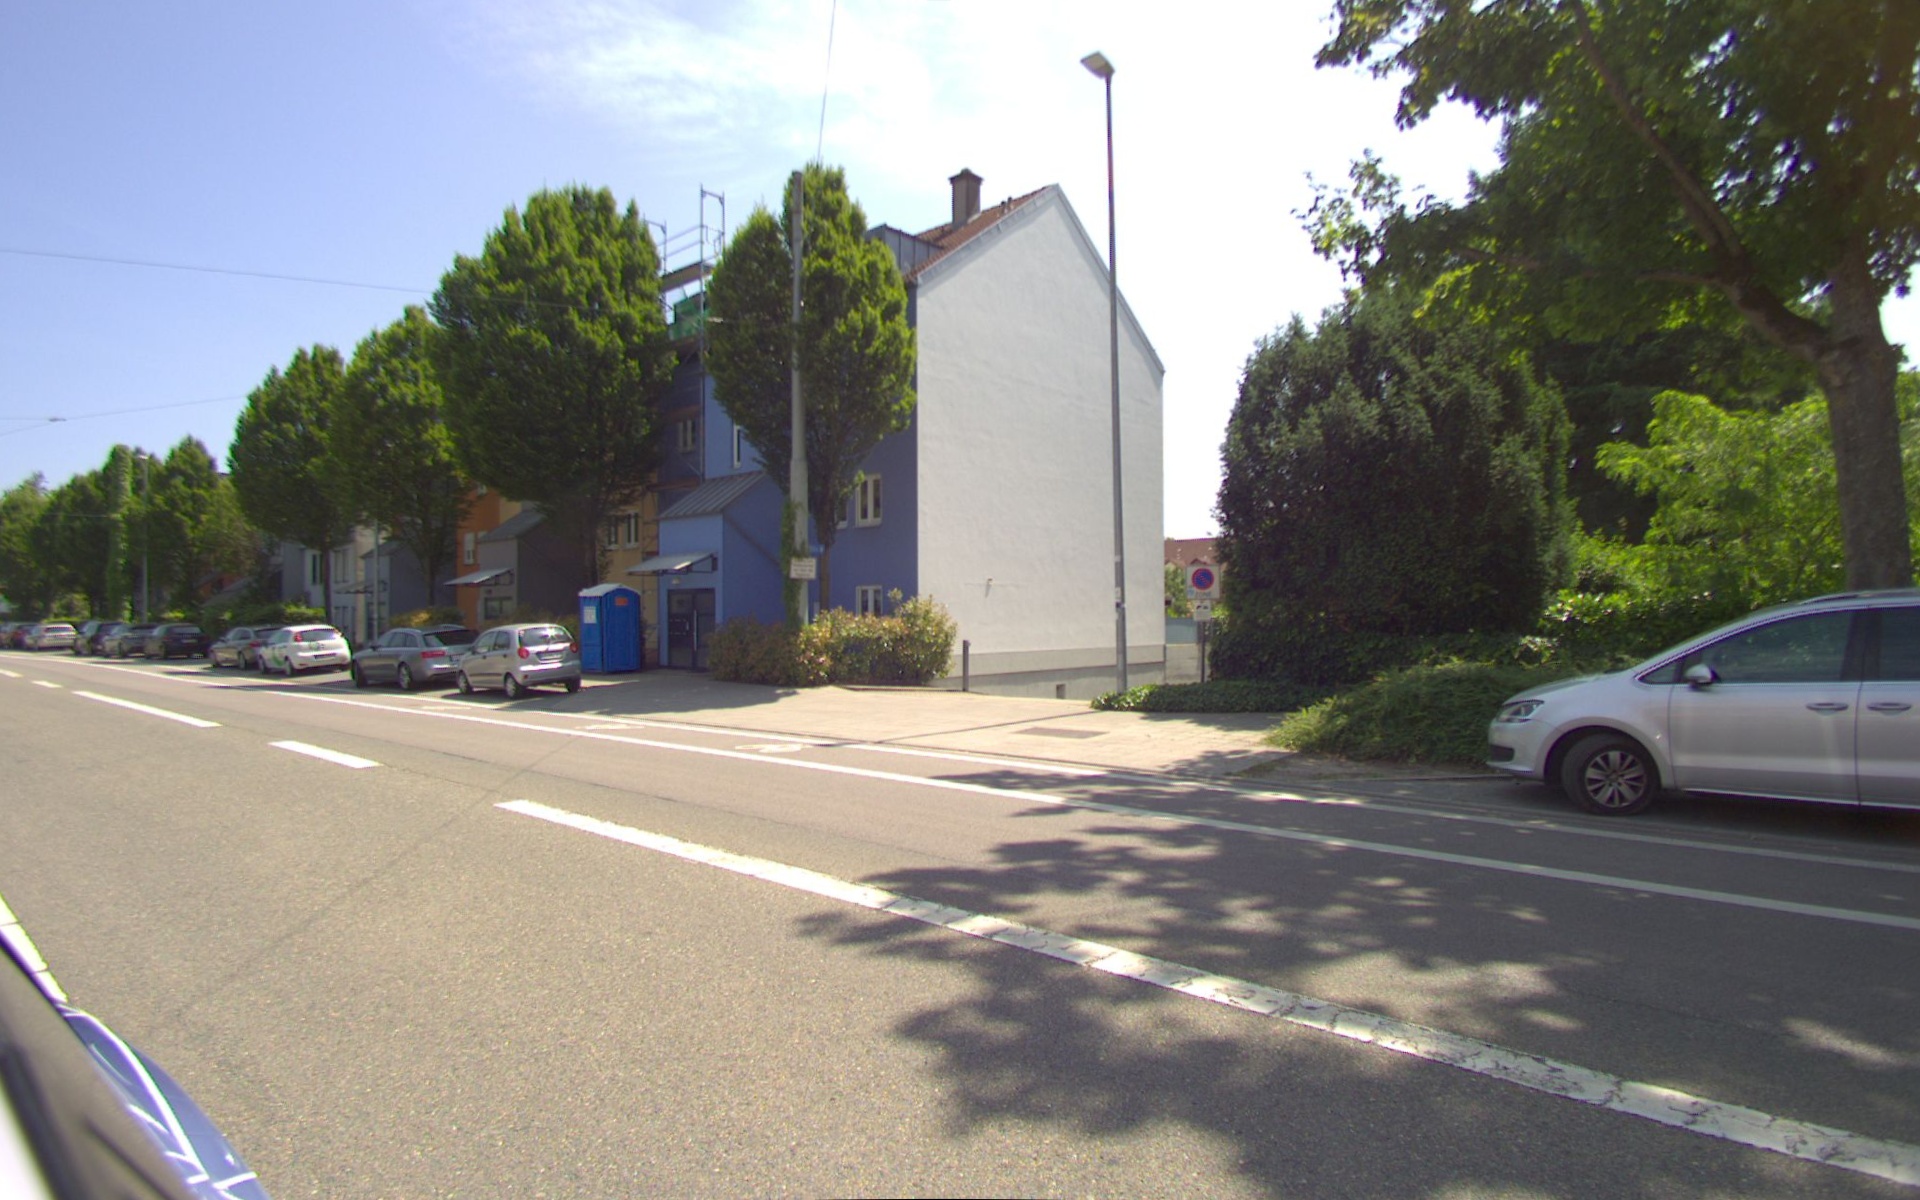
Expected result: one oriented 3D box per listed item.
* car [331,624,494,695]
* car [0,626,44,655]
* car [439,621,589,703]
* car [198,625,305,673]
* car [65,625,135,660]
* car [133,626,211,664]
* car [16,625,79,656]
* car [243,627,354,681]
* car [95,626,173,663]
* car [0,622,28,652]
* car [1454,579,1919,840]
[{"bbox_3d":[-13.798,1.457,25.368,5.129,1.461,1.769,-2,2,40],"label":"car"},{"bbox_3d":[-56.014,2.403,60.075,3.673,1.606,1.586,-2,0,35],"label":"car"},{"bbox_3d":[-9.708,1.289,21.949,3.447,1.506,1.577,-2,3,41],"label":"car"},{"bbox_3d":[-25.005,1.712,35.646,4.744,1.440,1.688,-2,3,38],"label":"car"},{"bbox_3d":[-42.264,2.076,49.708,4.142,1.601,1.750,-2,0,38],"label":"car"},{"bbox_3d":[-33.461,1.890,42.928,4.254,1.443,1.732,-1,1,40],"label":"car"},{"bbox_3d":[-51.158,2.267,56.706,4.490,1.594,1.823,-2,0,38],"label":"car"},{"bbox_3d":[-21.016,1.659,32.093,4.417,1.453,1.729,-2,3,41],"label":"car"},{"bbox_3d":[-37.683,1.994,46.118,4.752,1.507,1.807,-2,0,39],"label":"car"},{"bbox_3d":[-60.174,2.326,63.220,4.548,1.808,1.976,-1,-1,35],"label":"car"},{"bbox_3d":[6.483,0.711,7.457,4.778,1.677,1.853,-2,-1,41],"label":"car"}]
